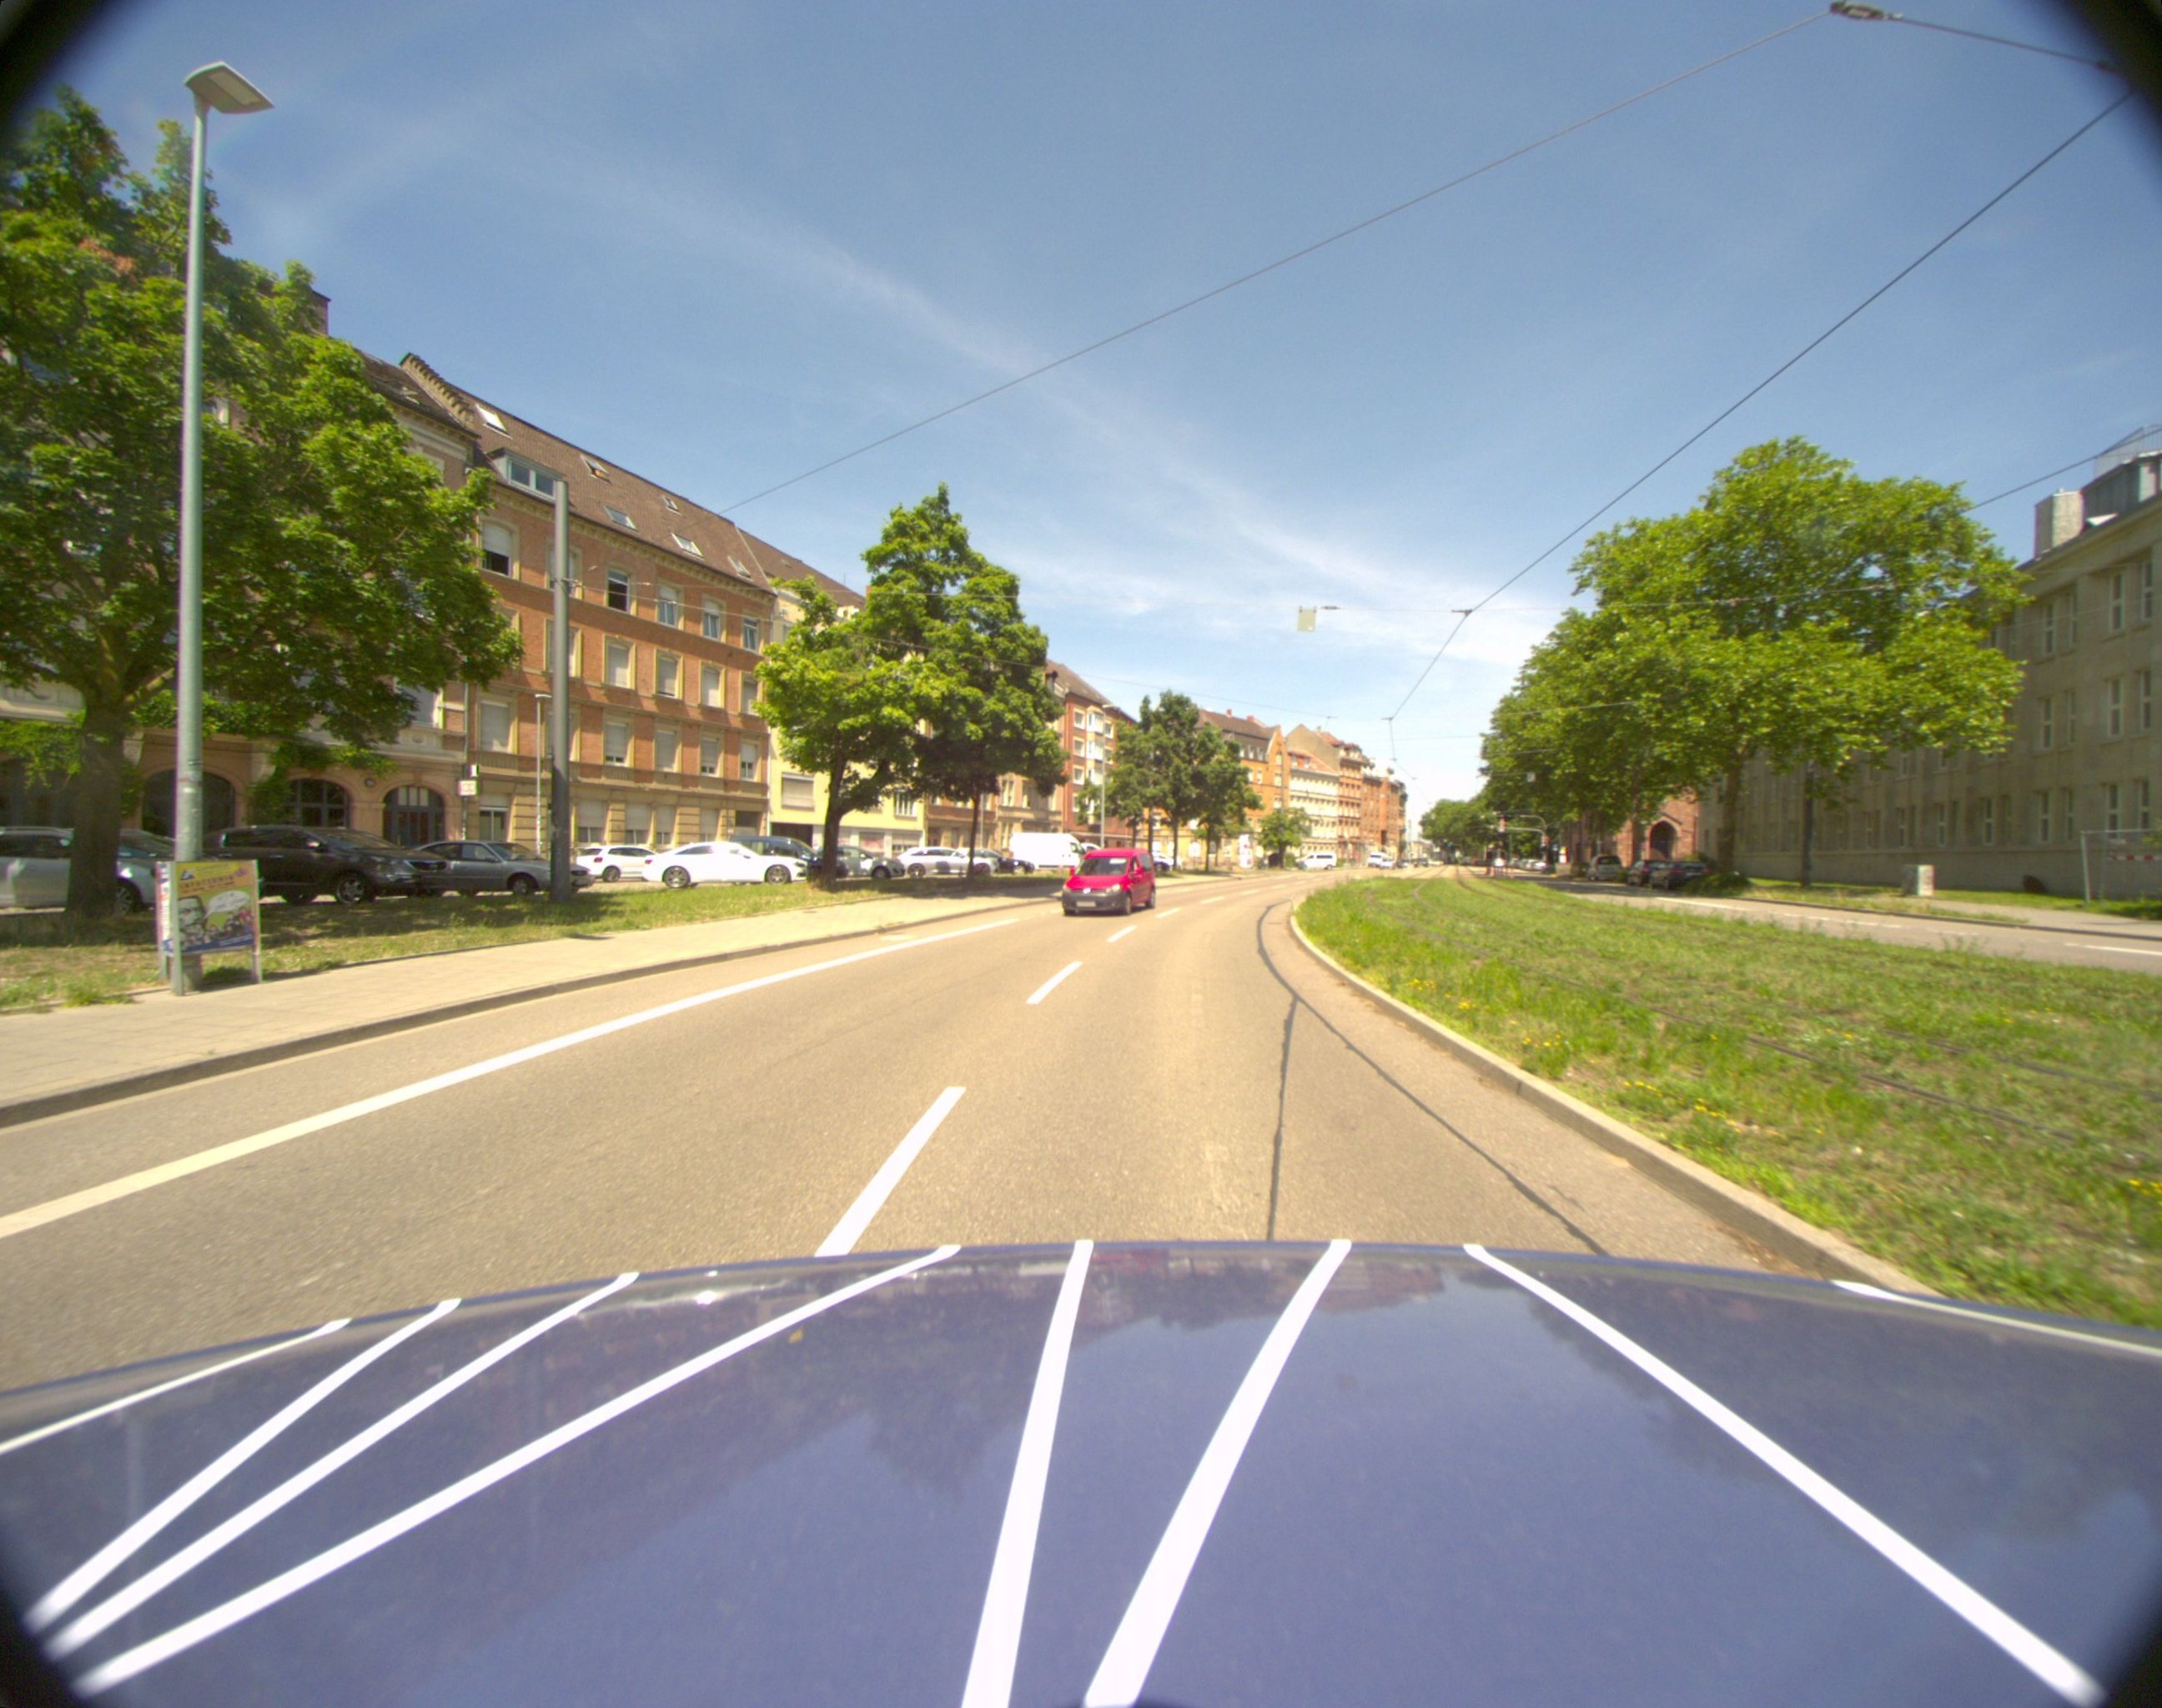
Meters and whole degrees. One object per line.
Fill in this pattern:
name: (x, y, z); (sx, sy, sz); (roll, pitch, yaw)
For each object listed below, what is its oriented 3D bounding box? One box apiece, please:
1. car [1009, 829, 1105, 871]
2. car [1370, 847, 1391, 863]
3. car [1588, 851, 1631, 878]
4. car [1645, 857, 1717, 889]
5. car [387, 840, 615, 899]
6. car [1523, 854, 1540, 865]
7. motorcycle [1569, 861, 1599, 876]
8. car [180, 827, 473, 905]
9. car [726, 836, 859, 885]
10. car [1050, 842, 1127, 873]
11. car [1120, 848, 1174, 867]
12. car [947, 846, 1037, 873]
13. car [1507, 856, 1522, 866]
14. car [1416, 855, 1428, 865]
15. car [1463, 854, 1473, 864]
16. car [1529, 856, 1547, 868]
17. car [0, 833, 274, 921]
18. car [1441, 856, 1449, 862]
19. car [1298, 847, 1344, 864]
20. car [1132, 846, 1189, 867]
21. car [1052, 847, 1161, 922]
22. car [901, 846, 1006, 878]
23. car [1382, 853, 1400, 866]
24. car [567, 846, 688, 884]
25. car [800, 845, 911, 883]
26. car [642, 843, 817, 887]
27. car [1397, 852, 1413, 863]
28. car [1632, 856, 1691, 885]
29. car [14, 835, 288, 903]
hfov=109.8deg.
car: (-1.473, -0.271, 46.073); (5.552, 2.446, 2.236); (0, 0, -11)
car: (46.584, 0.099, 118.020); (1.994, 2.317, 5.418); (4, 2, 31)
car: (37.589, 0.718, 54.119); (1.995, 1.800, 4.309); (0, 0, 28)
car: (28.641, 0.882, 36.421); (1.589, 1.415, 4.330); (0, 0, 22)
car: (-13.711, 0.354, 18.129); (3.995, 1.305, 1.973); (-1, 0, 4)
car: (62.934, 0.786, 106.167); (1.659, 1.450, 4.066); (0, 0, 25)
motorcycle: (38.898, 1.094, 58.744); (1.871, 1.062, 0.727); (-2, 0, -5)
car: (-15.181, 0.231, 15.473); (4.090, 1.461, 1.798); (-1, 0, -1)
car: (-10.283, 0.228, 27.338); (3.997, 1.652, 1.972); (-1, 0, 0)
car: (0.444, 0.228, 49.266); (4.846, 1.961, 2.076); (-1, 0, -3)
car: (5.047, 0.251, 57.857); (3.995, 1.391, 1.824); (-1, 0, 5)
car: (-4.556, 0.278, 38.793); (4.433, 1.330, 1.970); (0, 0, -11)
car: (75.457, 1.282, 132.183); (1.995, 1.707, 4.007); (0, 0, 26)
car: (57.383, 1.045, 127.828); (1.797, 1.565, 4.007); (0, 0, 25)
car: (92.570, 1.150, 181.815); (1.818, 2.283, 3.768); (0, 0, 23)
car: (58.665, 1.014, 97.569); (1.659, 1.450, 4.228); (0, 0, 26)
car: (-16.501, 0.371, 12.688); (4.345, 1.368, 1.582); (-1, 0, 0)
car: (95.525, 1.359, 199.536); (1.748, 1.386, 4.354); (-2, -1, 23)
car: (28.772, 0.204, 91.263); (4.850, 1.926, 2.167); (-1, 0, 2)
car: (6.305, 0.169, 60.728); (4.408, 1.622, 2.001); (-1, 0, 4)
car: (0.874, 0.758, 21.248); (1.857, 1.823, 5.173); (0, 0, 16)
car: (-5.970, 0.376, 35.592); (4.693, 1.419, 1.970); (0, 0, -11)
car: (39.530, 0.668, 96.871); (1.797, 1.565, 4.007); (0, 0, 27)
car: (-17.753, 0.418, 29.936); (1.780, 1.412, 3.722); (0, 0, 25)
car: (-8.770, 0.378, 29.825); (4.000, 1.392, 1.711); (0, 0, -10)
car: (-11.136, 0.323, 24.474); (4.790, 1.305, 2.147); (0, 0, -15)
car: (45.915, 0.491, 107.576); (1.797, 1.565, 4.007); (0, 0, 27)
car: (31.398, 0.842, 41.227); (1.764, 1.474, 4.331); (0, 0, 27)
car: (-23.168, 0.338, 19.142); (1.838, 1.521, 4.007); (0, 0, 24)
